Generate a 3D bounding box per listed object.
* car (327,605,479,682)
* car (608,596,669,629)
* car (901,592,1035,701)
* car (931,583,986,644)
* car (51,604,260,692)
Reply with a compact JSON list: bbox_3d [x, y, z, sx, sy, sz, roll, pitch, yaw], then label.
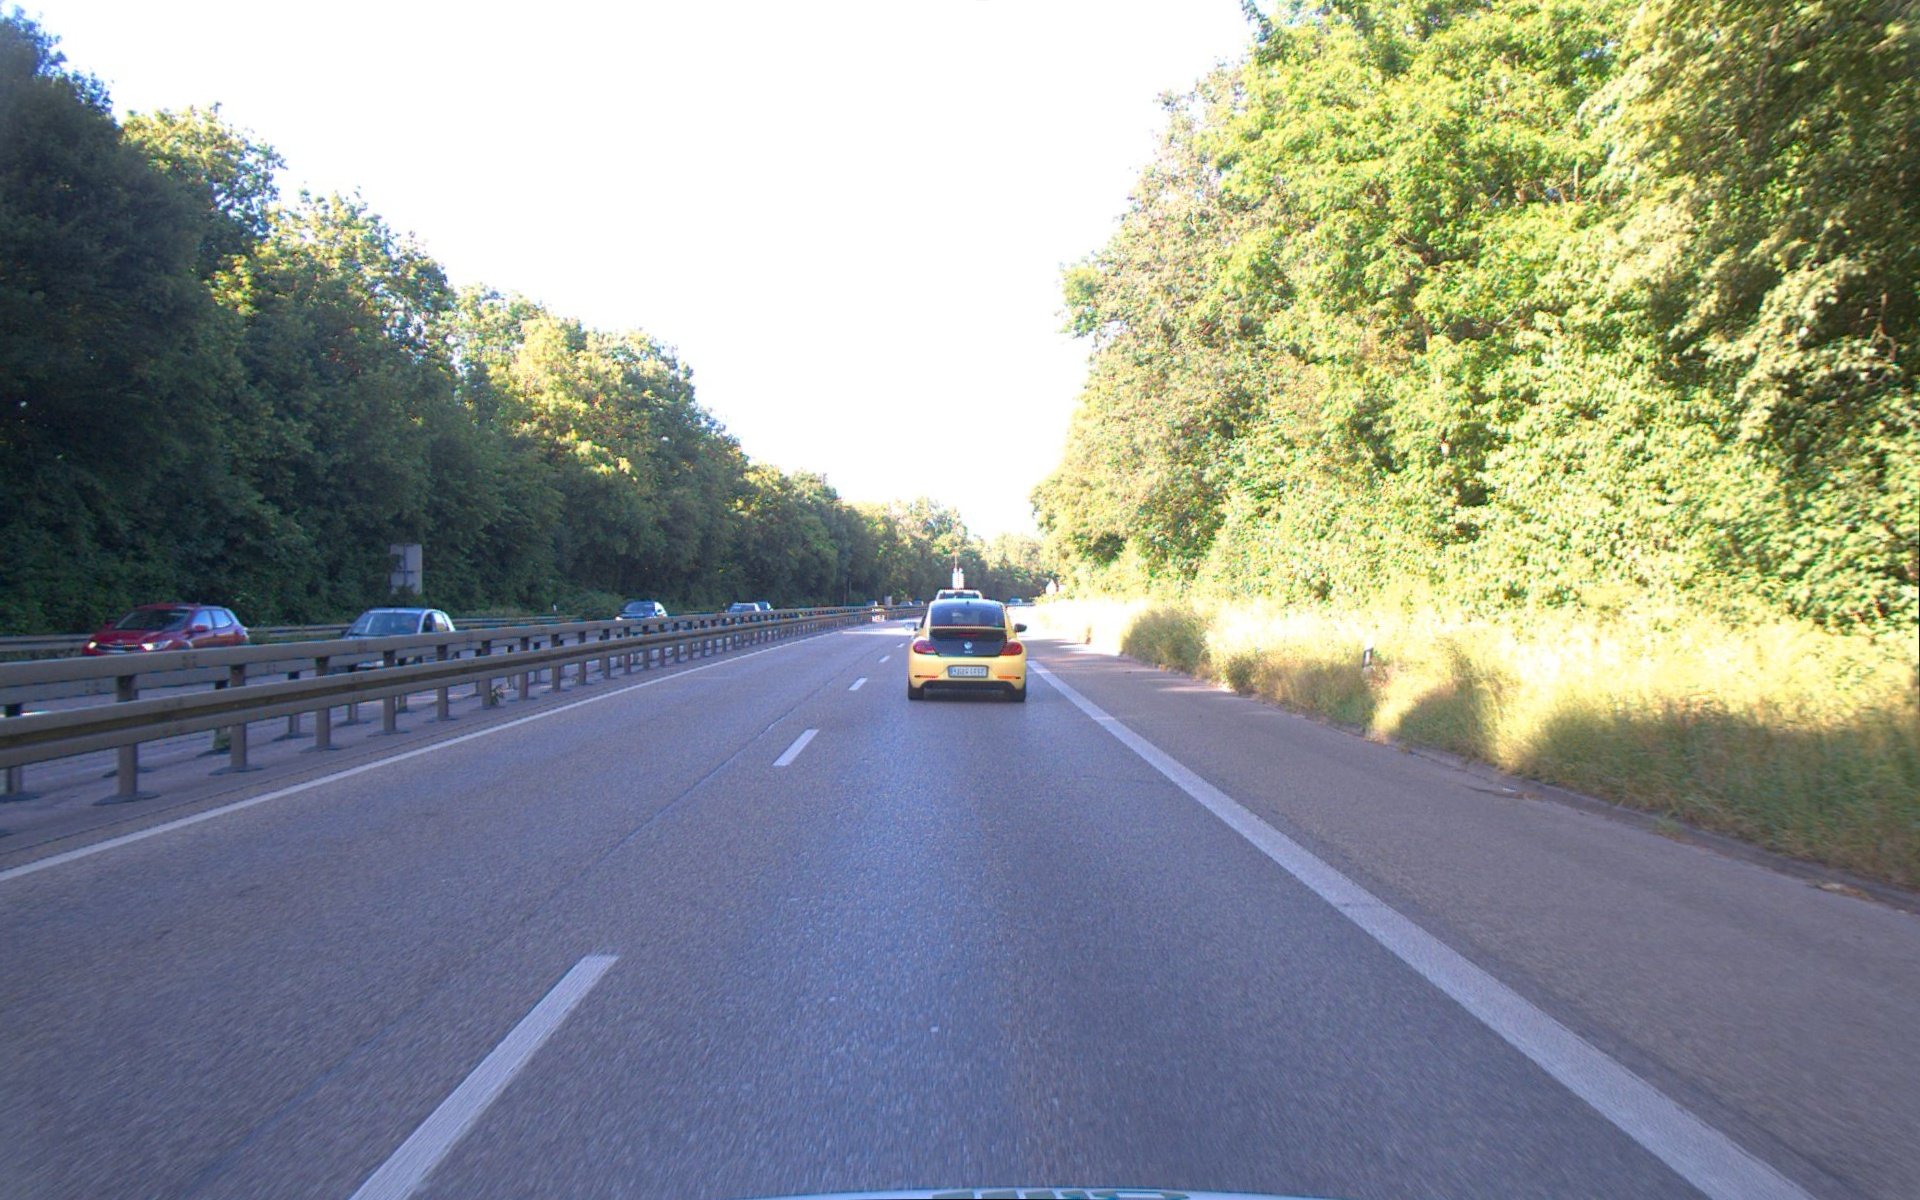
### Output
[{"bbox_3d":[-11.091,0.876,33.221,1.689,1.397,4.095,-2,-2,-1],"label":"car"},{"bbox_3d":[-15.534,0.576,80.145,1.953,1.489,4.902,-2,0,0],"label":"car"},{"bbox_3d":[0.181,0.654,25.243,1.899,1.534,3.423,1,0,2],"label":"car"},{"bbox_3d":[-0.058,0.421,53.057,1.706,1.862,3.422,1,0,0],"label":"car"},{"bbox_3d":[-15.261,0.871,31.636,1.953,1.489,4.000,-2,0,0],"label":"car"}]
